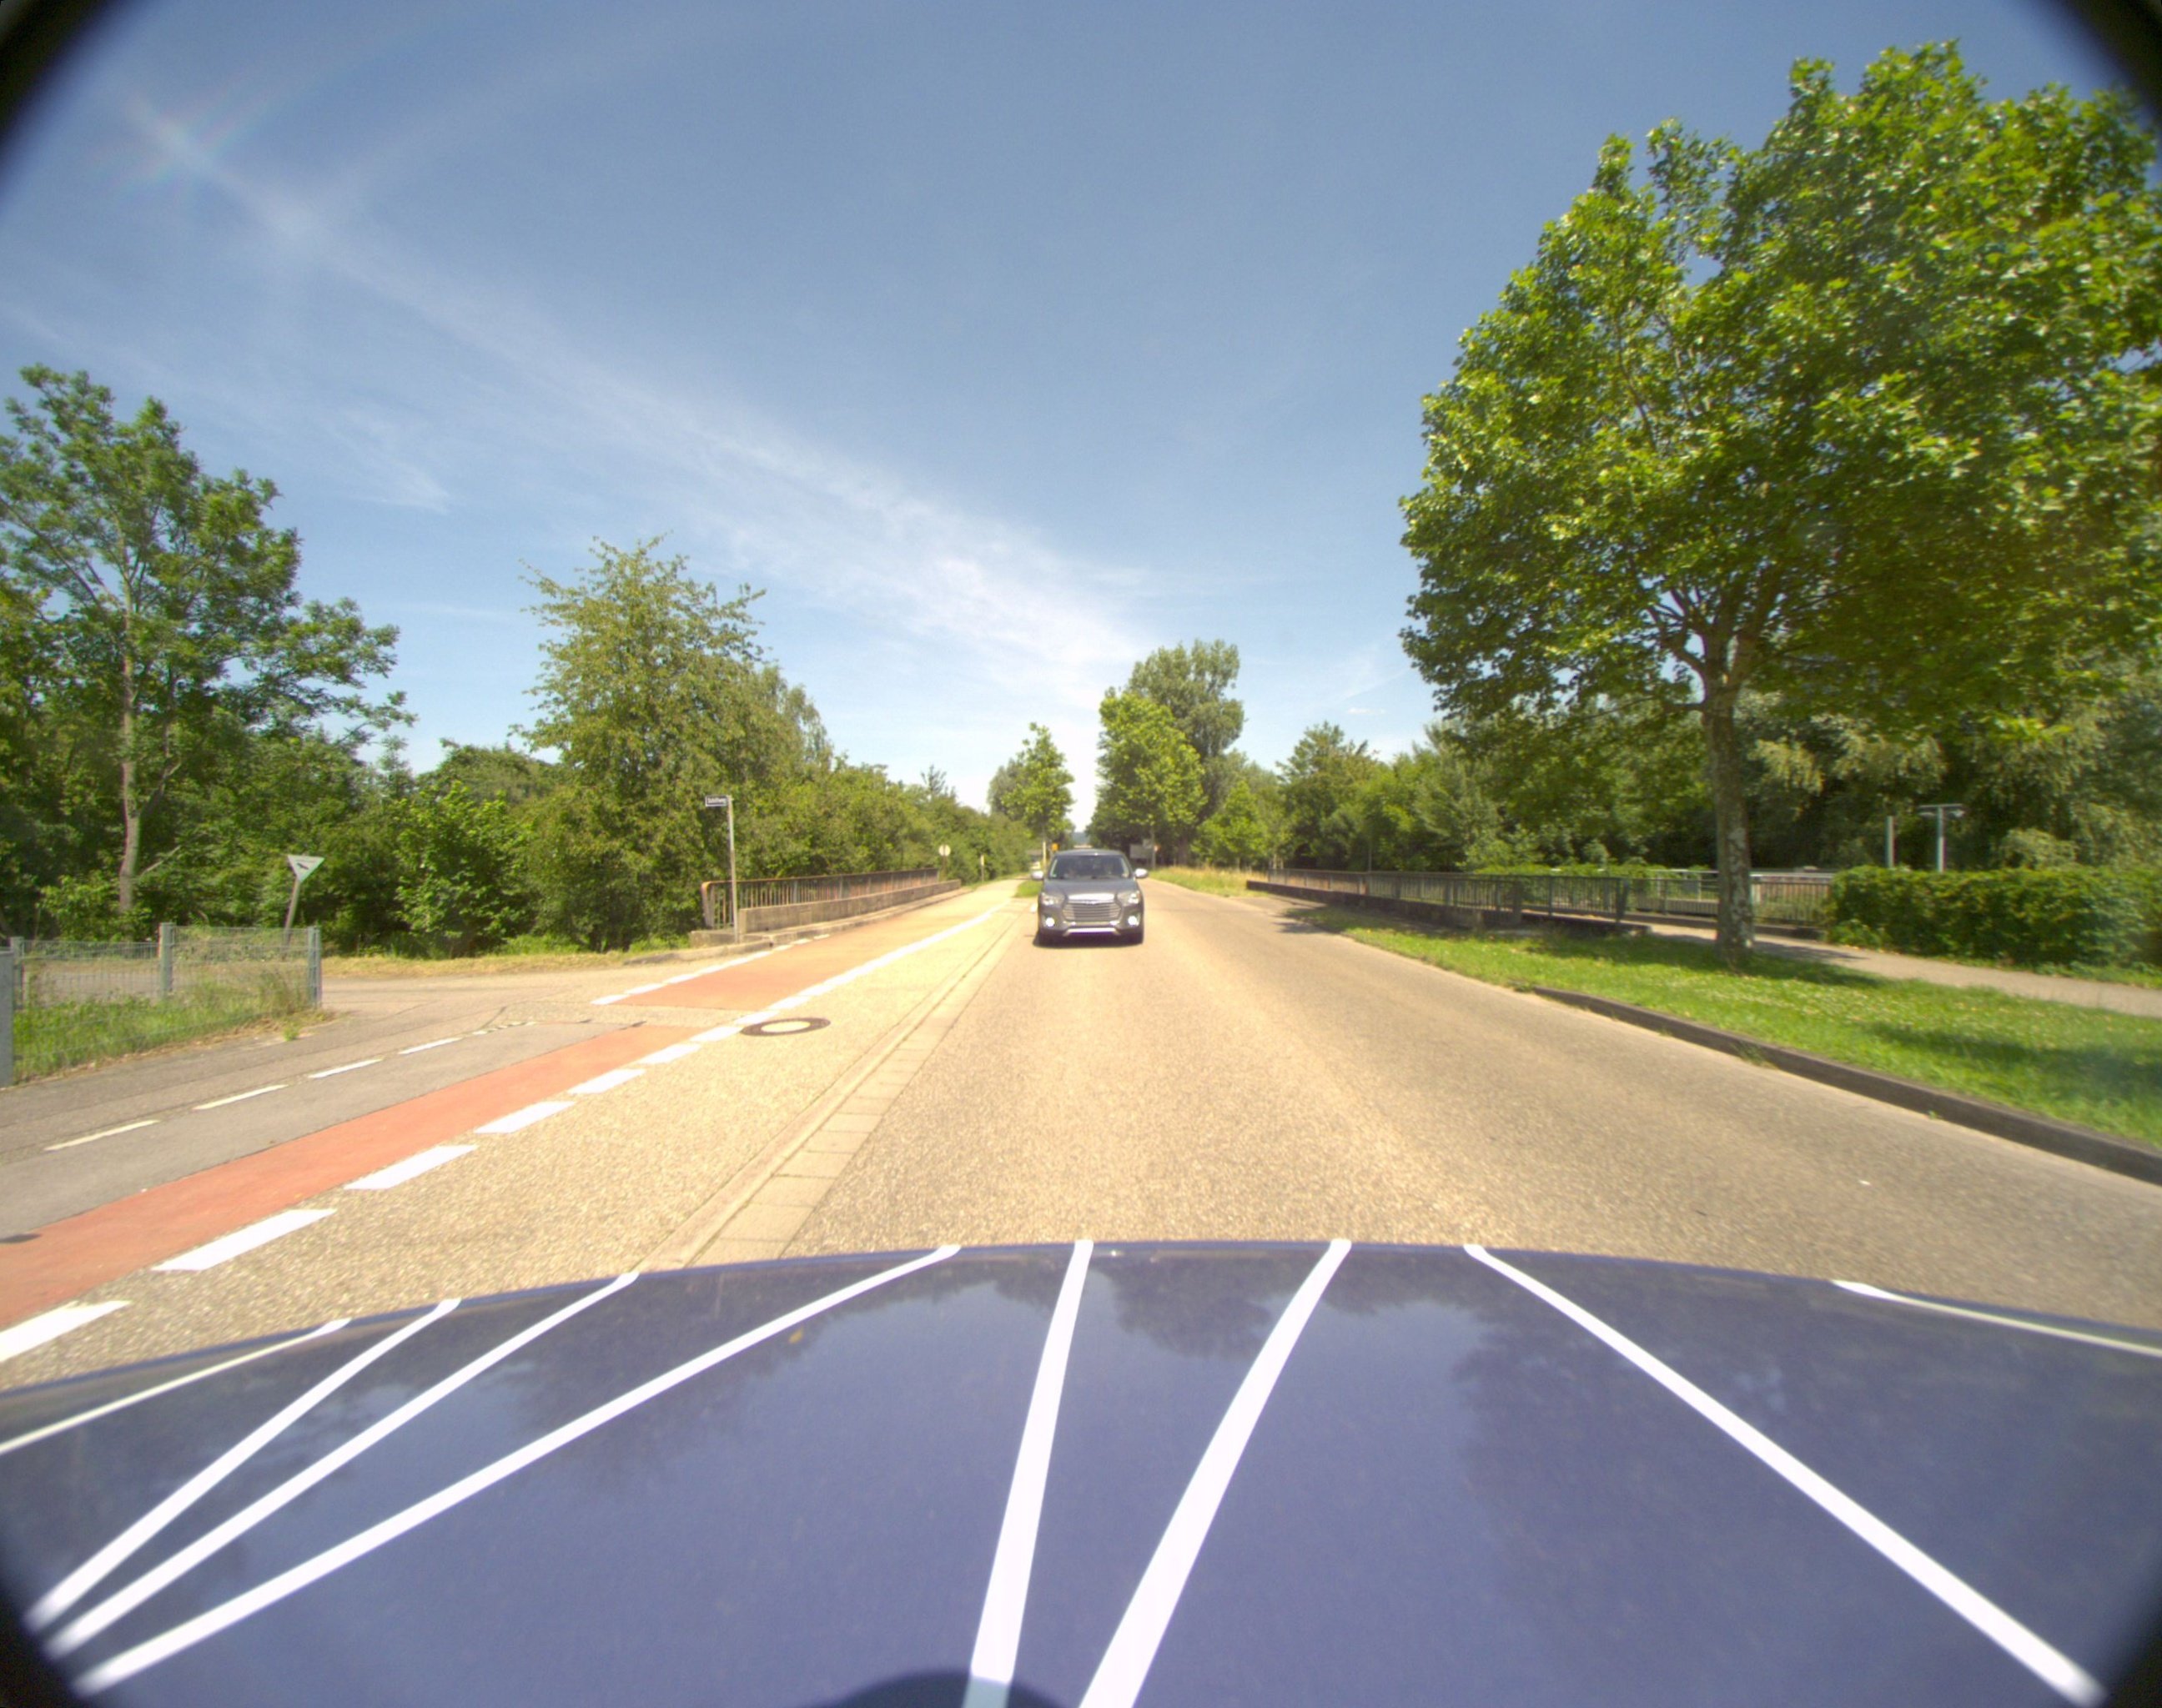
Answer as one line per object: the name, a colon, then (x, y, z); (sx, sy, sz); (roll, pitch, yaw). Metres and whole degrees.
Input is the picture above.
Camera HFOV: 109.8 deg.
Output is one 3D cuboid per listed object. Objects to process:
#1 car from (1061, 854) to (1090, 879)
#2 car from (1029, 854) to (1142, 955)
car: (-0.363, 0.706, 45.737); (1.676, 1.342, 3.830); (-2, 1, -2)
car: (0.066, 0.793, 14.091); (1.750, 1.525, 4.524); (-1, 0, 0)
